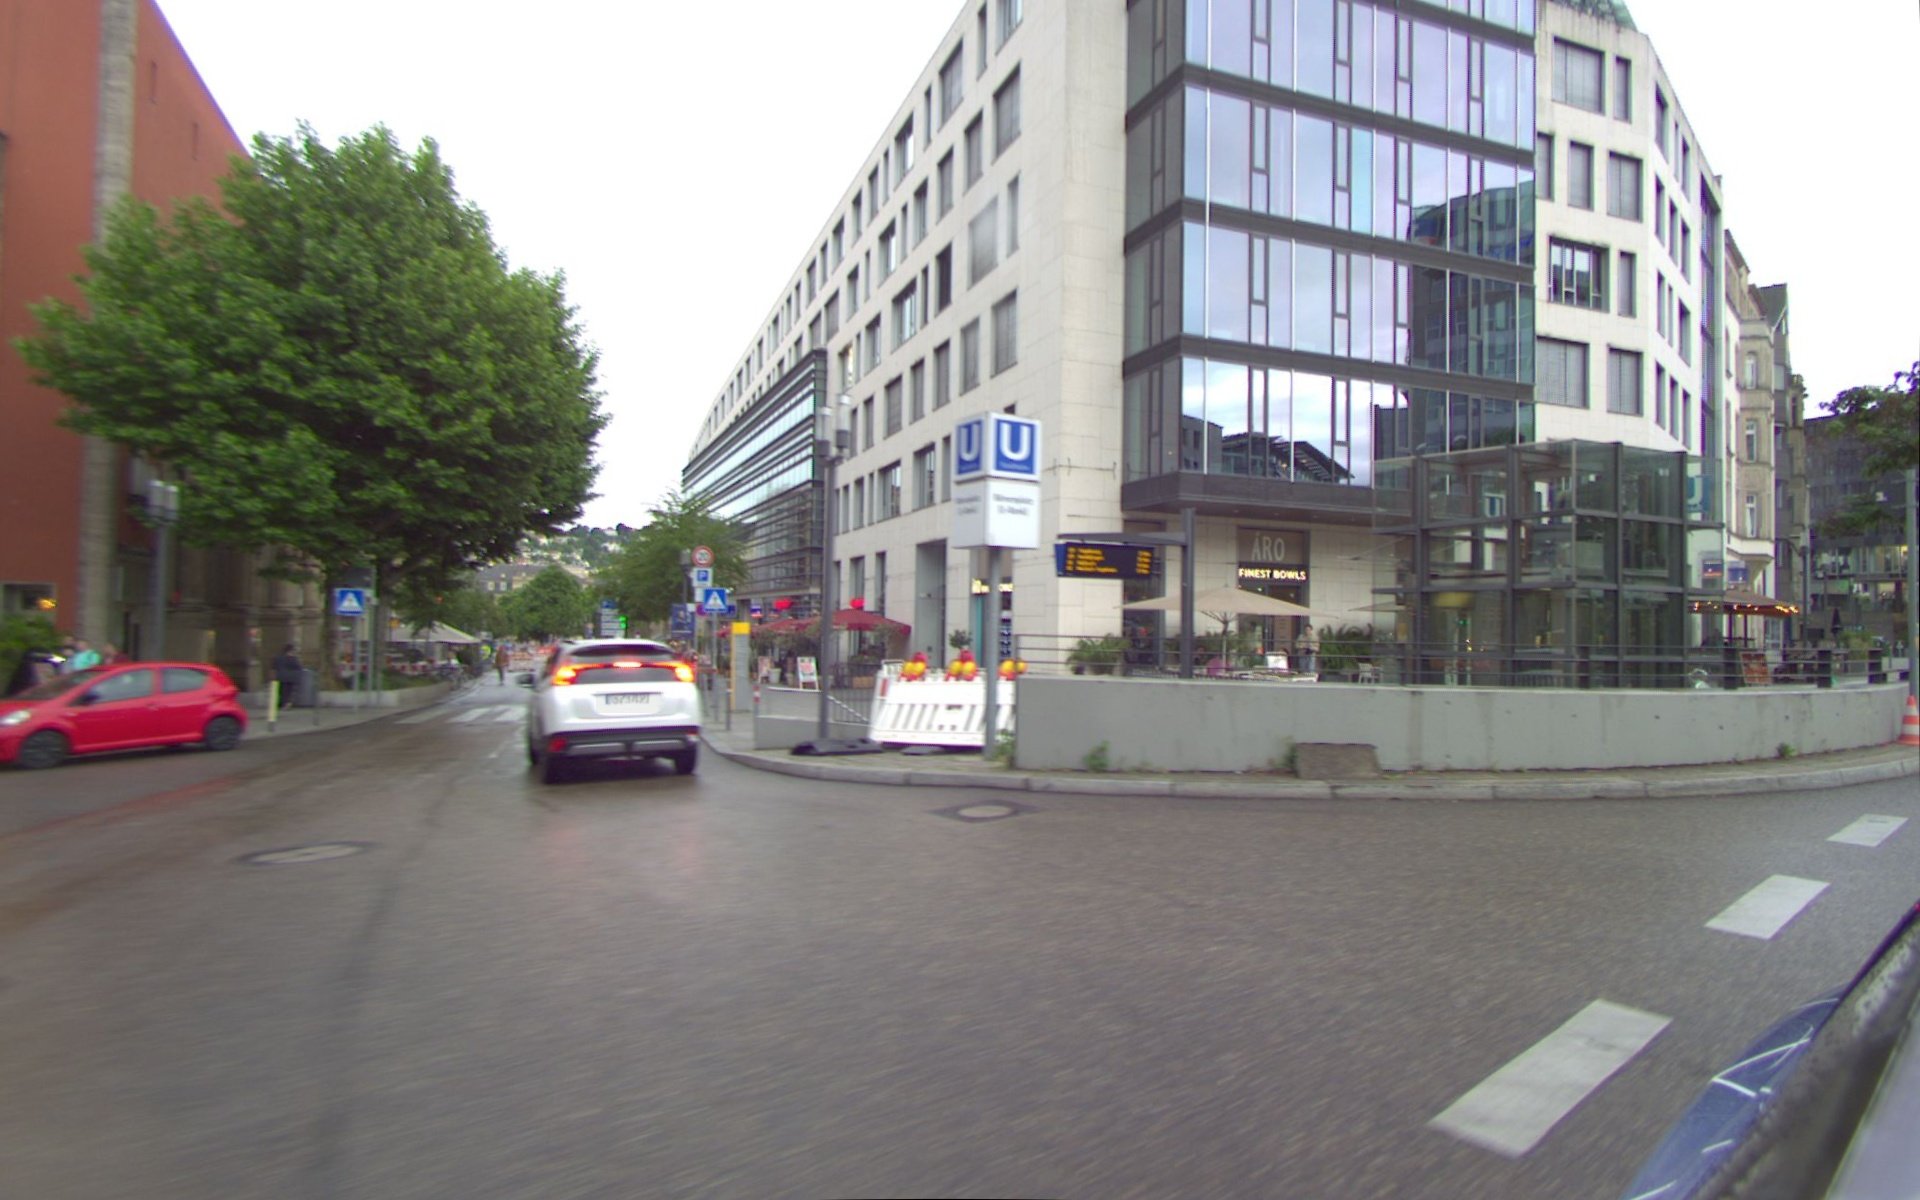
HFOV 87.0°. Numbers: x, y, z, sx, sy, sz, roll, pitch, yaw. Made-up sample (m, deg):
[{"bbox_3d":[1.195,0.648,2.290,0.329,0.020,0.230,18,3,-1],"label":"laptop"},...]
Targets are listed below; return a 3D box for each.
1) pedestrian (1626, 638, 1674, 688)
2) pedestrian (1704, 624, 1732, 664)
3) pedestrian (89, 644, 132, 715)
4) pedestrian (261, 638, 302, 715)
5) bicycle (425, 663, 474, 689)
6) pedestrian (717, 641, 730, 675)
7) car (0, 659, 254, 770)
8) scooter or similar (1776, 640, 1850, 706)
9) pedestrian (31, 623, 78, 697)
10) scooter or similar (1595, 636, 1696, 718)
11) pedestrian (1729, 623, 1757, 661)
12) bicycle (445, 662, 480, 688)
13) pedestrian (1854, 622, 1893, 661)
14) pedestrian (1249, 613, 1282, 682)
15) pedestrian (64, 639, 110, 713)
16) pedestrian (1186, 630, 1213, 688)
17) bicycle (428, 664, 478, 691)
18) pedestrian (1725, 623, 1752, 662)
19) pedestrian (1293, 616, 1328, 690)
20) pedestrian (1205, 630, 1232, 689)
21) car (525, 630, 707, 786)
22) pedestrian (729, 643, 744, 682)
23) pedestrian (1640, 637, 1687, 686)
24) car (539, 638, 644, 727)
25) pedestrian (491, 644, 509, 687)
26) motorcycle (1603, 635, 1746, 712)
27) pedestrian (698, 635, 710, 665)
[{"bbox_3d":[19.174,1.753,28.116,0.622,1.344,0.821,0,-3,-24],"label":"pedestrian"},{"bbox_3d":[26.516,1.538,35.387,0.625,1.344,0.627,1,-4,-44],"label":"pedestrian"},{"bbox_3d":[-19.722,1.830,23.505,0.598,1.618,0.755,0,-3,-28],"label":"pedestrian"},{"bbox_3d":[-16.598,1.856,24.752,0.793,1.832,0.609,1,-3,-36],"label":"pedestrian"},{"bbox_3d":[-20.590,3.051,40.825,1.719,0.997,0.523,0,-3,-24],"label":"bicycle"},{"bbox_3d":[-12.578,3.079,53.773,0.560,1.723,0.560,0,-1,-23],"label":"pedestrian"},{"bbox_3d":[-13.170,1.676,15.540,1.597,1.434,3.496,-3,-3,26],"label":"car"},{"bbox_3d":[17.221,1.463,20.446,1.089,1.288,0.474,-2,-3,42],"label":"scooter or similar"},{"bbox_3d":[-20.455,1.351,22.879,0.598,1.618,0.755,0,-3,-28],"label":"pedestrian"},{"bbox_3d":[10.257,1.133,15.157,0.522,1.173,1.115,1,-3,-38],"label":"scooter or similar"},{"bbox_3d":[28.439,1.516,36.759,0.625,1.344,0.627,1,-4,-44],"label":"pedestrian"},{"bbox_3d":[-20.386,3.063,41.505,1.258,0.997,0.459,0,-3,-24],"label":"bicycle"},{"bbox_3d":[32.843,1.494,36.392,0.622,1.344,0.777,0,-3,-24],"label":"pedestrian"},{"bbox_3d":[8.656,1.326,28.690,0.574,1.918,0.642,0,-1,-31],"label":"pedestrian"},{"bbox_3d":[-19.411,1.672,22.516,0.598,1.580,0.755,0,-3,-28],"label":"pedestrian"},{"bbox_3d":[6.059,1.480,25.602,0.468,1.421,0.437,0,-1,-22],"label":"pedestrian"},{"bbox_3d":[-19.866,3.043,39.693,1.719,0.997,0.523,0,-3,-24],"label":"bicycle"},{"bbox_3d":[27.838,1.523,36.195,0.625,1.344,0.627,1,-4,-44],"label":"pedestrian"},{"bbox_3d":[9.378,1.409,27.072,0.629,1.918,0.587,0,-1,-20],"label":"pedestrian"},{"bbox_3d":[6.435,1.475,25.218,0.468,1.421,0.437,0,-1,-22],"label":"pedestrian"},{"bbox_3d":[-4.587,1.312,13.082,1.824,1.642,4.114,0,-4,-24],"label":"car"},{"bbox_3d":[-10.206,2.848,46.193,0.560,1.723,0.560,0,-1,-23],"label":"pedestrian"},{"bbox_3d":[19.878,1.745,28.618,0.622,1.344,0.821,0,-3,-24],"label":"pedestrian"},{"bbox_3d":[-8.156,1.721,22.430,1.962,1.713,4.758,0,-2,-20],"label":"car"},{"bbox_3d":[-21.965,3.121,48.302,0.761,2.040,0.782,0,-3,-25],"label":"pedestrian"},{"bbox_3d":[11.546,1.159,16.407,0.596,1.173,1.781,1,-2,-38],"label":"motorcycle"},{"bbox_3d":[-14.856,2.901,58.689,0.560,1.723,0.560,0,-1,-23],"label":"pedestrian"}]
